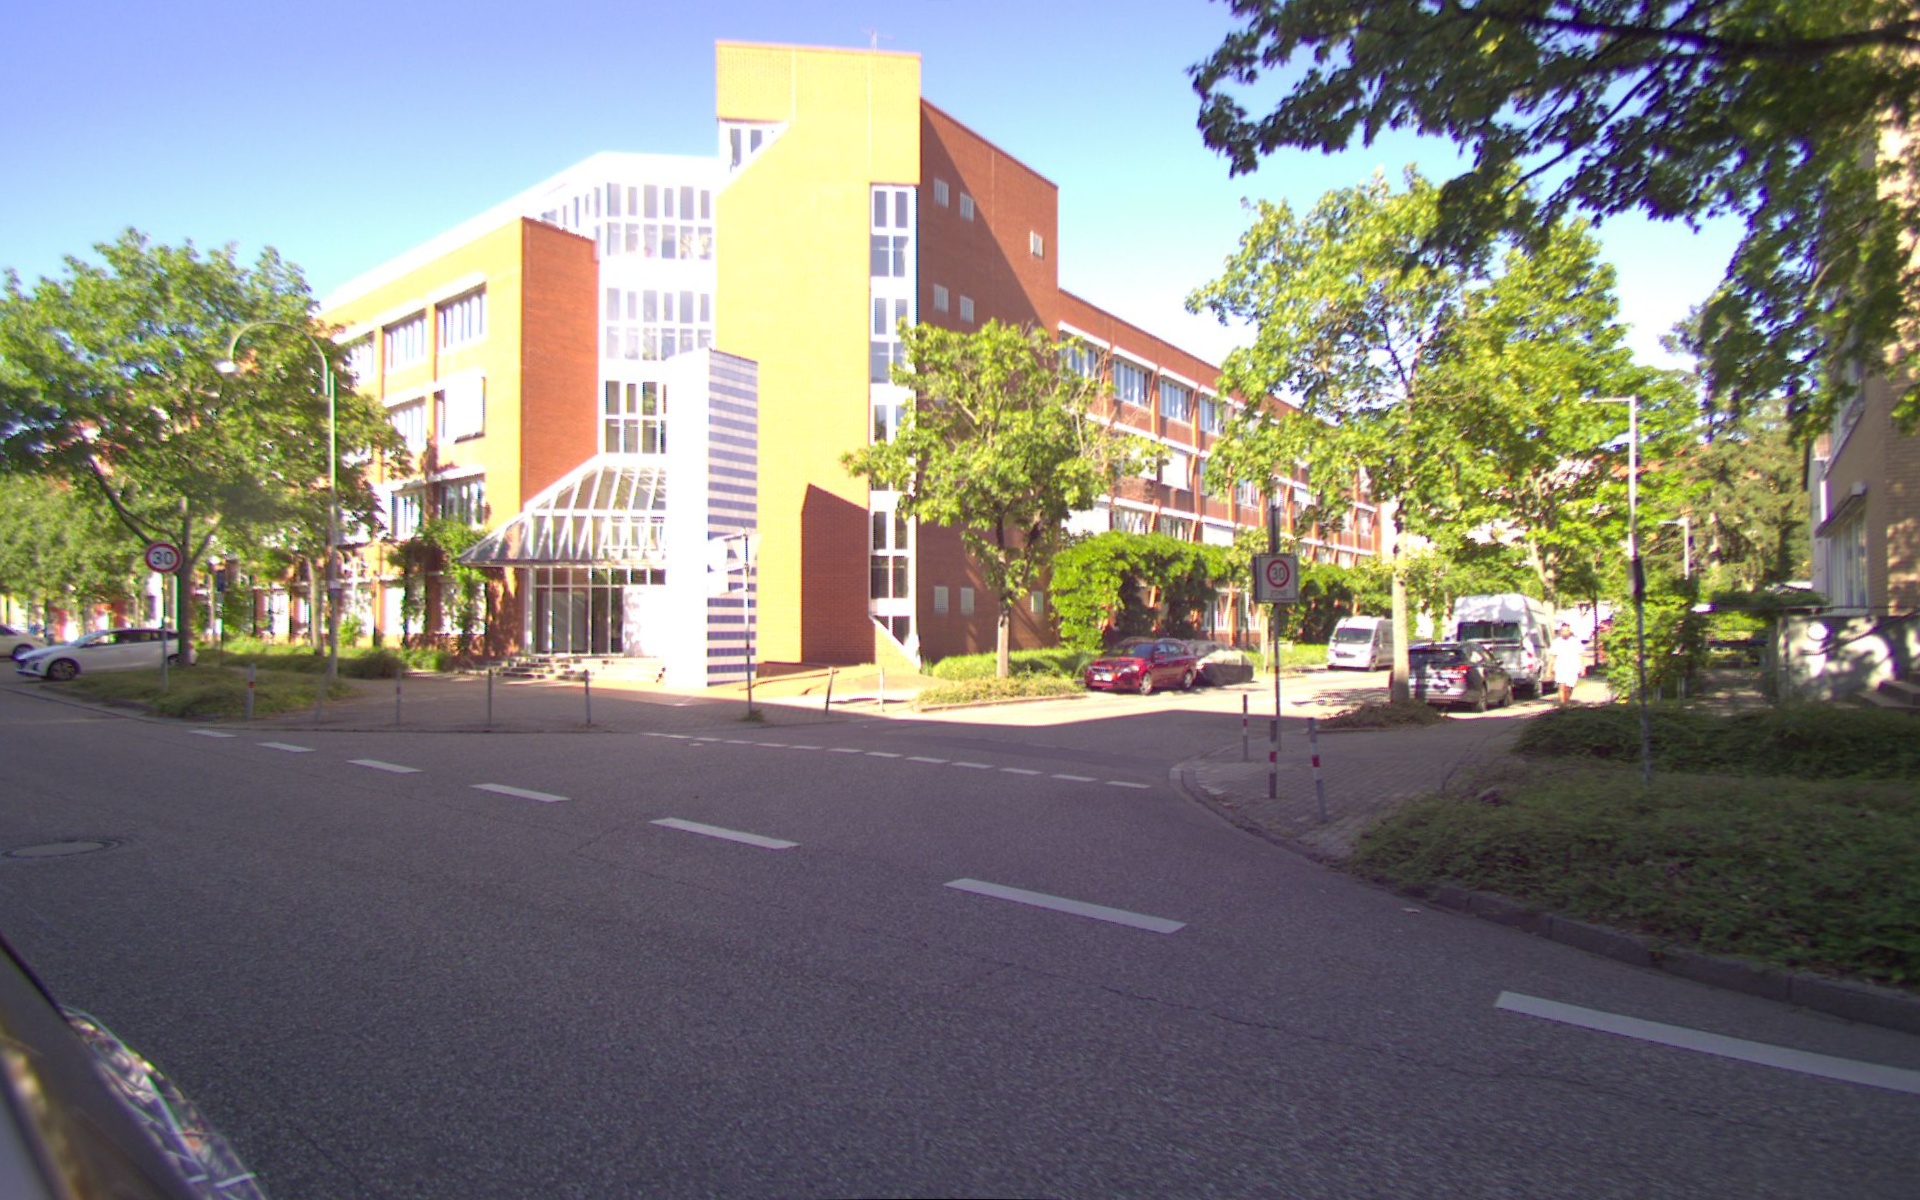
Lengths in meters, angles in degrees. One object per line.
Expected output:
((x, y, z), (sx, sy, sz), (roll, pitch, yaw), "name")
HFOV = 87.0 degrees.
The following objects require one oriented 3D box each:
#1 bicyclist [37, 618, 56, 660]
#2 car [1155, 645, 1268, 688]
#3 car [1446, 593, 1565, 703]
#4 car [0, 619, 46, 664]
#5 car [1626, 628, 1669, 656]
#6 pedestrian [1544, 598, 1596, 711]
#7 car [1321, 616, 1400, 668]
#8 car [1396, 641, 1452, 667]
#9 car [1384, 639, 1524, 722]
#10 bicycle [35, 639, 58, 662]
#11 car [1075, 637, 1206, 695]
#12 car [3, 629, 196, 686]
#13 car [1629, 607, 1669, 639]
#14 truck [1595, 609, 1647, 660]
((-45.169, 1.931, 50.054), (0.609, 2.029, 0.625), (-1, -1, 41), "bicyclist")
((8.363, 2.131, 33.352), (1.845, 1.196, 4.662), (-2, -2, 38), "car")
((14.478, 1.191, 26.685), (1.920, 2.588, 5.410), (-2, -2, 37), "car")
((-42.297, 1.793, 42.767), (1.998, 1.901, 5.252), (-1, -1, 39), "car")
((47.417, 2.875, 69.778), (2.082, 1.882, 4.662), (-2, -3, 38), "car")
((10.707, 0.952, 17.753), (0.671, 1.932, 0.615), (-2, -3, 40), "pedestrian")
((18.586, 1.884, 46.850), (2.082, 2.287, 4.662), (-2, -2, 38), "car")
((25.358, 2.936, 55.225), (1.845, 1.341, 4.028), (-1, -3, 38), "car")
((10.749, 1.634, 21.830), (1.845, 1.519, 4.664), (-2, -2, 37), "car")
((-45.188, 2.488, 50.068), (2.154, 1.107, 0.629), (-1, -1, 42), "bicycle")
((5.254, 1.835, 29.012), (1.845, 1.463, 4.383), (-2, -2, 38), "car")
((-24.532, 1.583, 28.973), (1.615, 1.430, 3.956), (-1, -1, 37), "car")
((51.181, 1.734, 75.110), (2.082, 2.287, 4.662), (-2, -3, 38), "car")
((34.687, 1.844, 53.064), (1.996, 2.561, 3.950), (-1, -3, 36), "truck")
